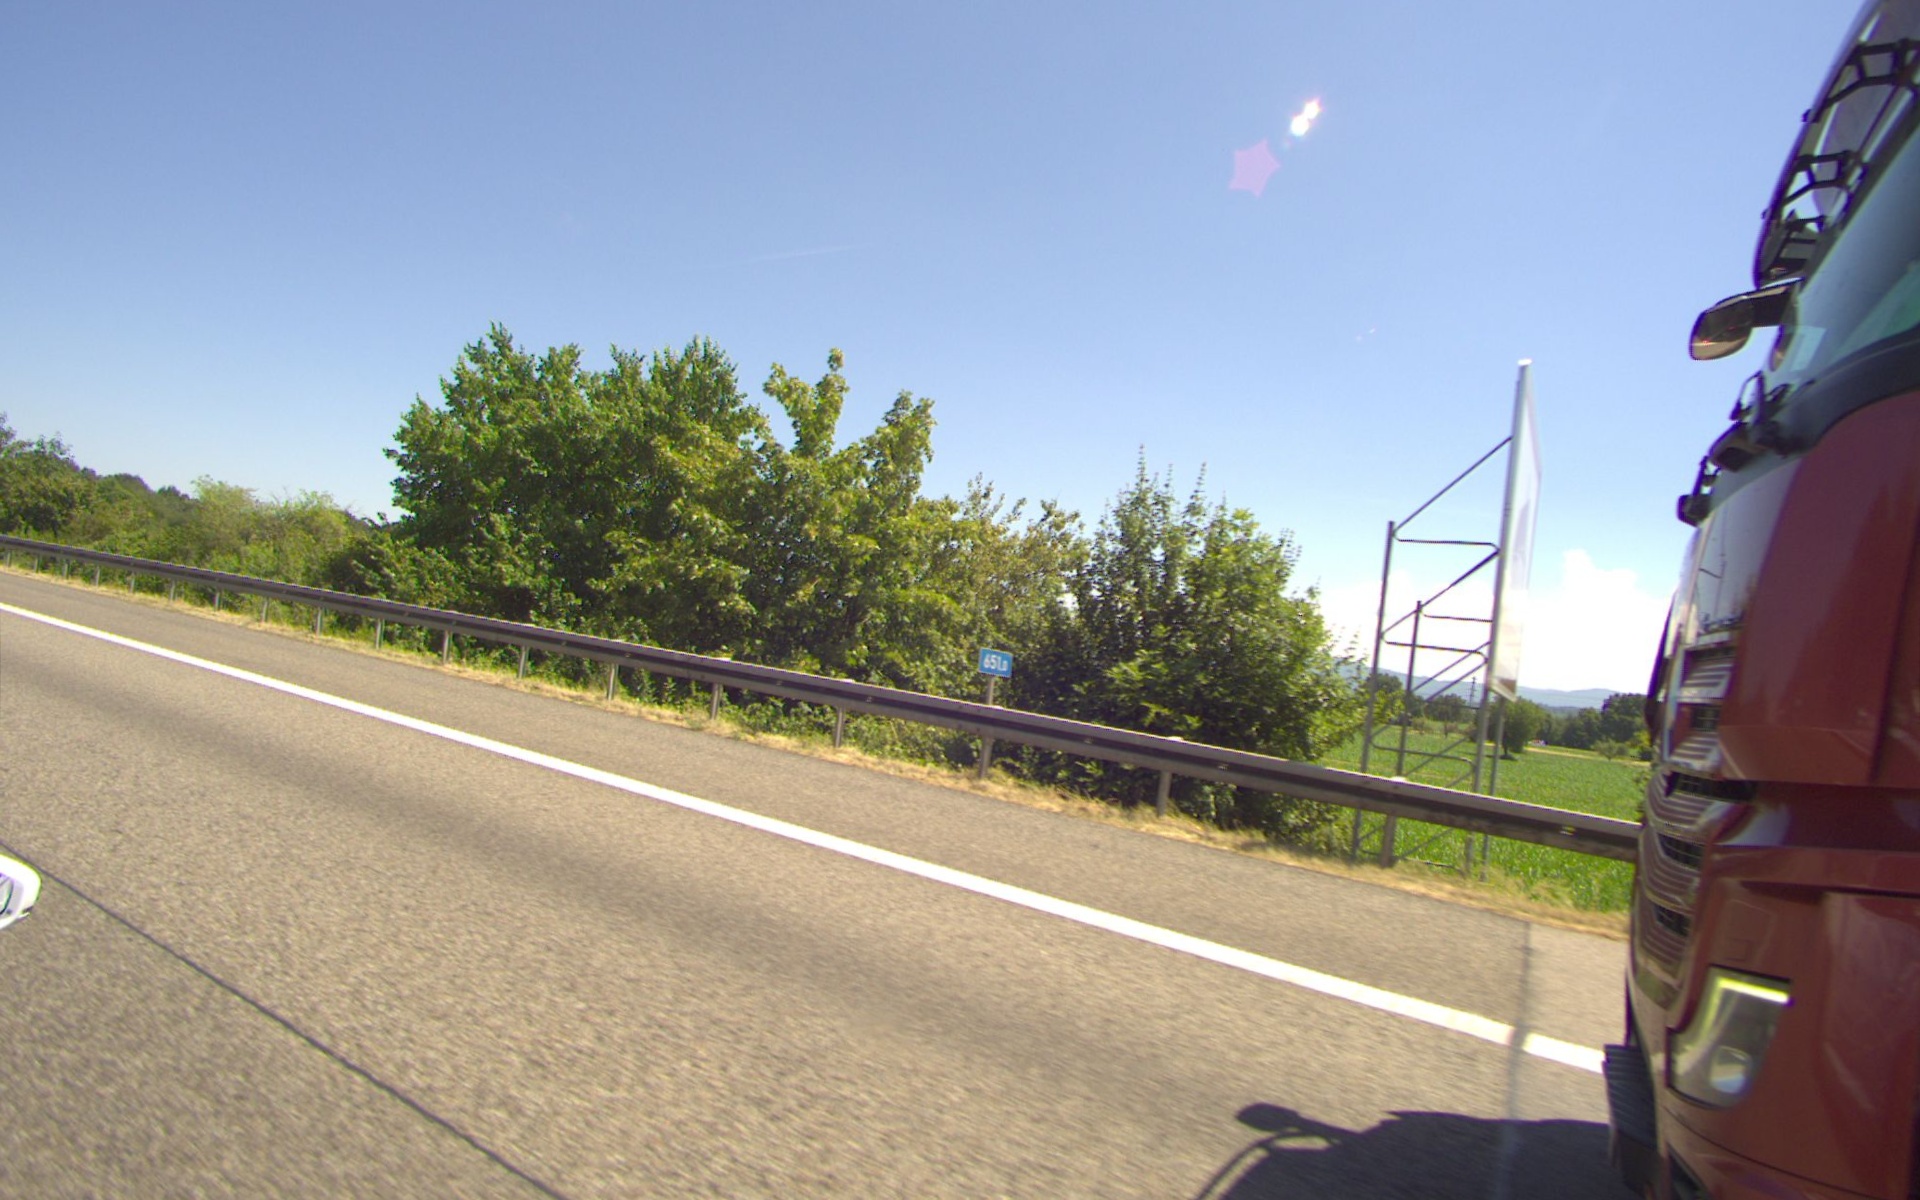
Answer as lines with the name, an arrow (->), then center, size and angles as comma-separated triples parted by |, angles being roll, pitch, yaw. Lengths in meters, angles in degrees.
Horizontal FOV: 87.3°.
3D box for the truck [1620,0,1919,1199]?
truck -> 4.998, -0.042, 0.991 | 6.852, 4.136, 2.711 | 6, -2, 33
